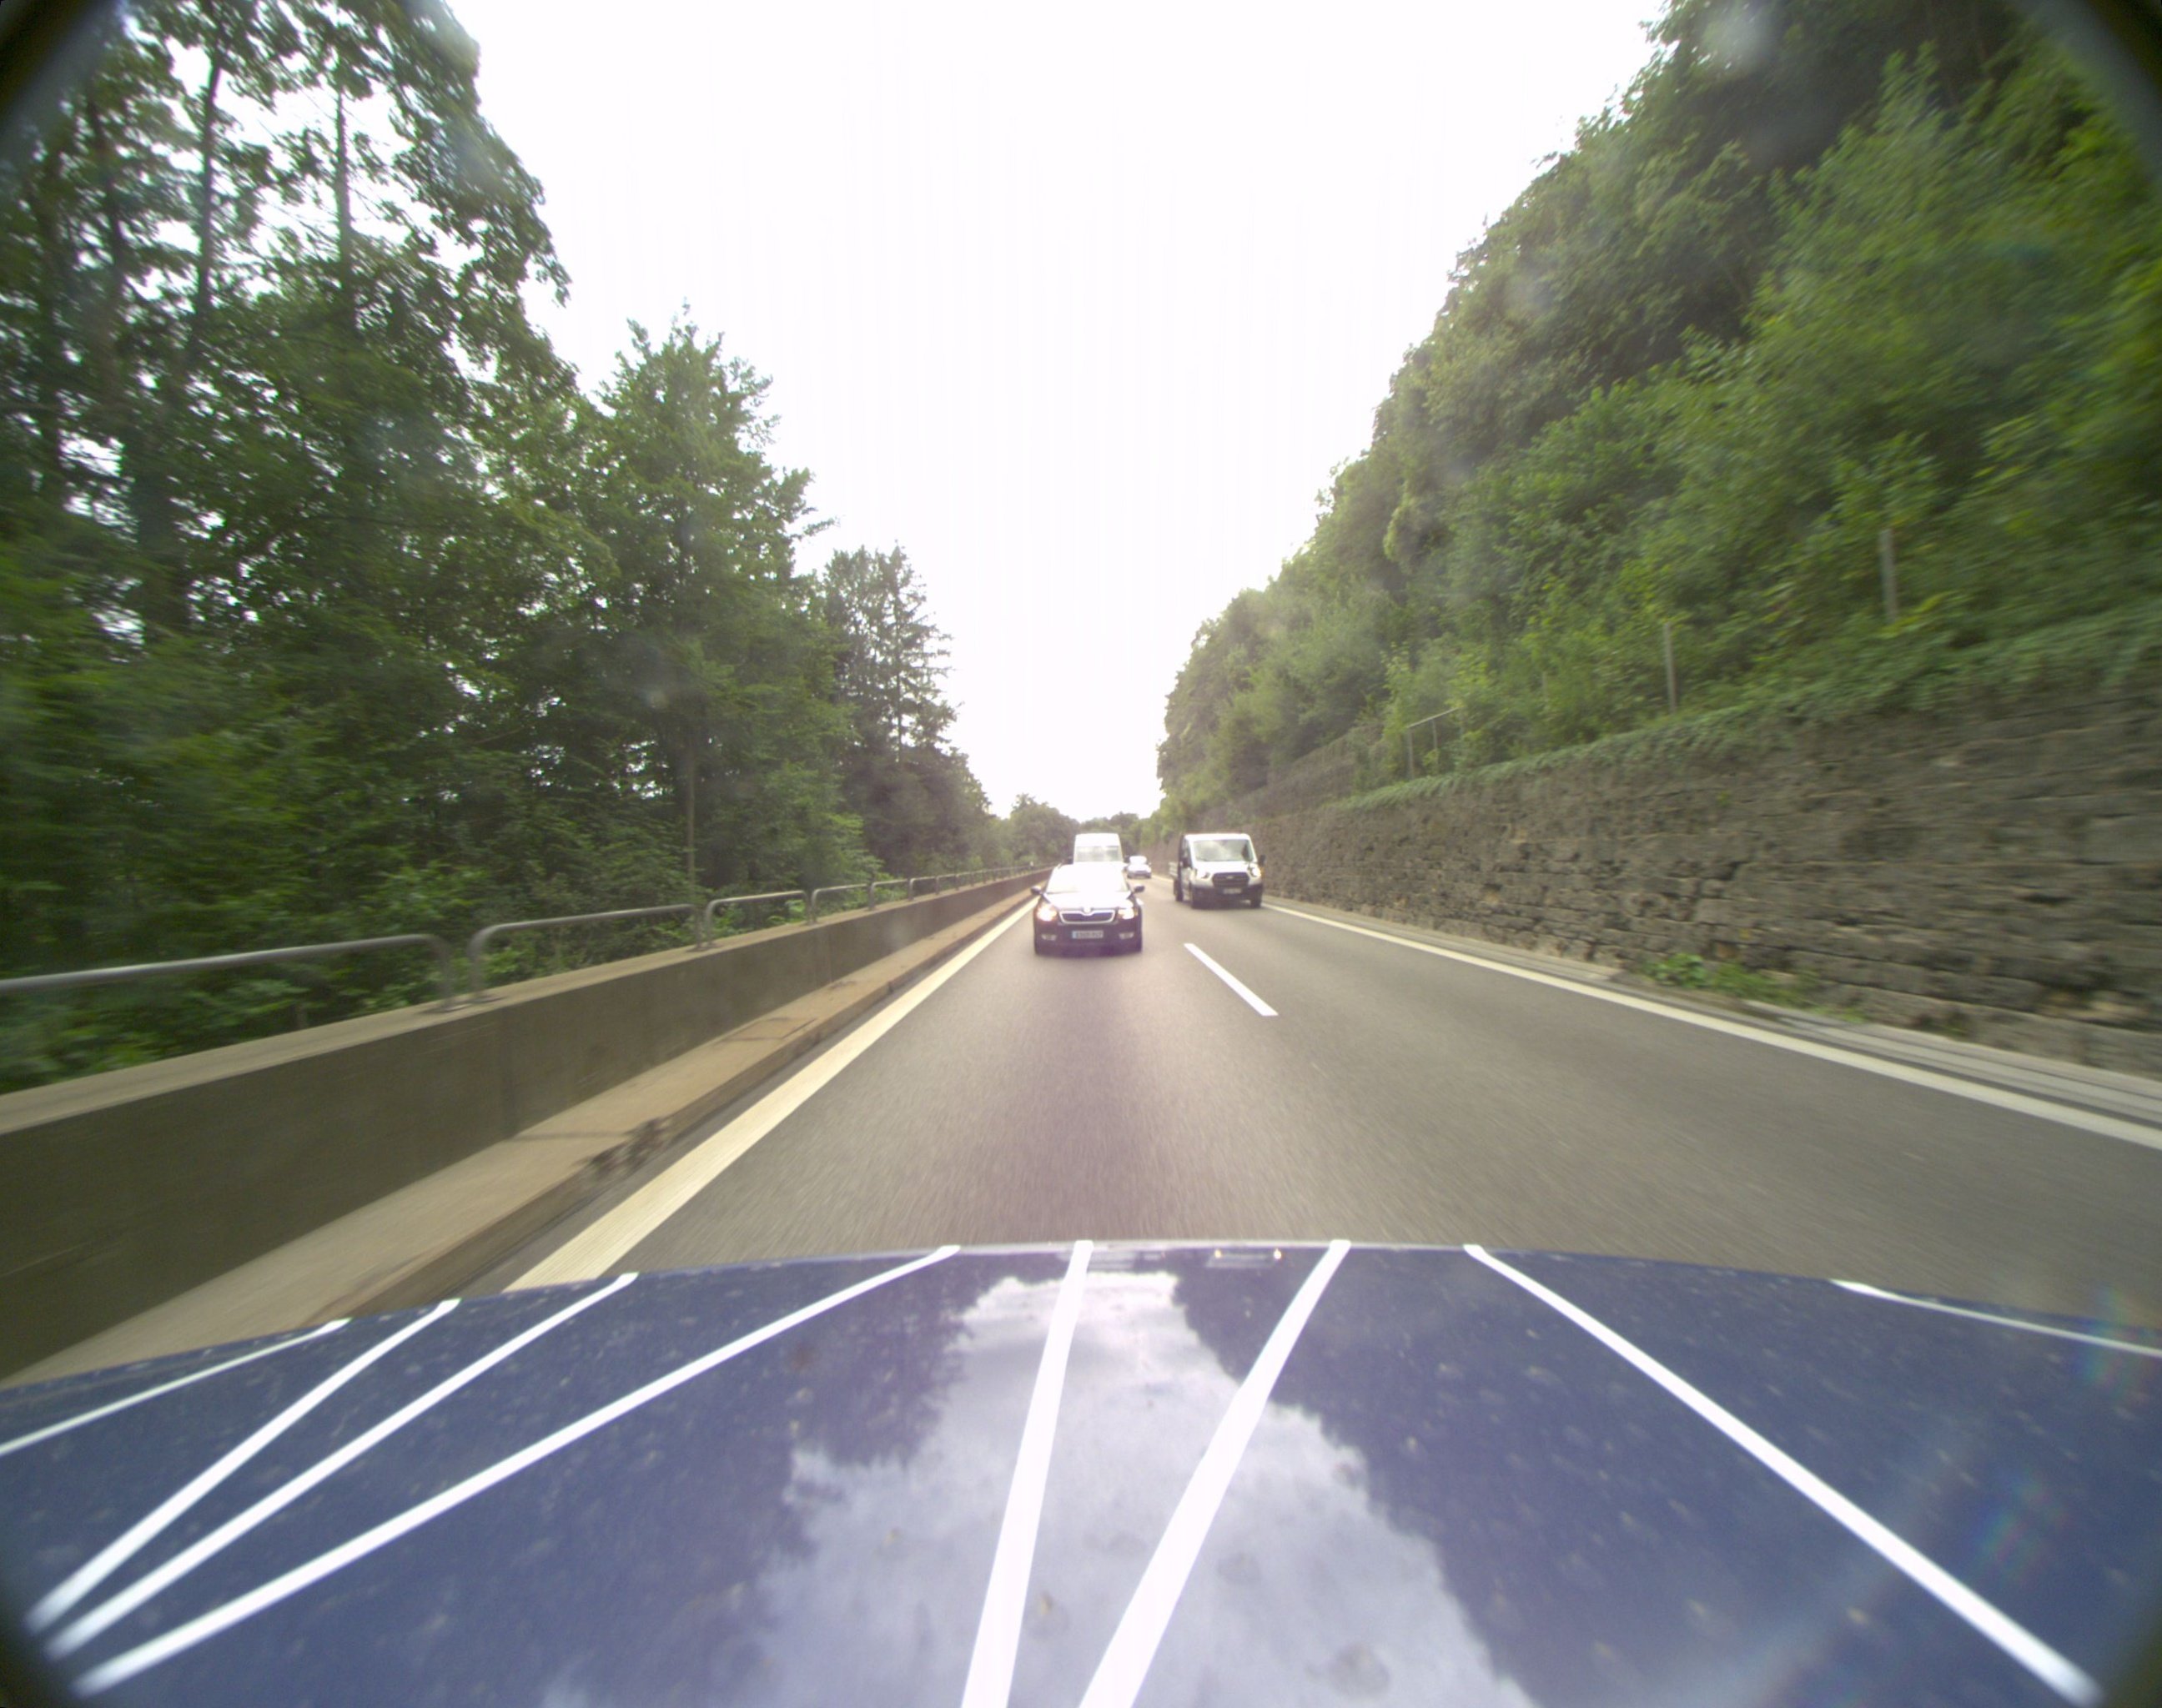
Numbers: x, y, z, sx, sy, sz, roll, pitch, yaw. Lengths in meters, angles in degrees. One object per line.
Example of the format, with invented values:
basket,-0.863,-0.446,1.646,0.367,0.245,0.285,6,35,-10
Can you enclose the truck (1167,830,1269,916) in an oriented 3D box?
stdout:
truck,4.132,0.527,24.129,1.998,2.266,6.586,-2,0,0

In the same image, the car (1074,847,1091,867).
car,0.192,0.365,92.037,1.998,2.396,4.000,-2,0,1

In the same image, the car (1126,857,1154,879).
car,4.425,1.019,57.324,1.711,1.568,4.602,-2,0,1

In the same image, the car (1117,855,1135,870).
car,5.040,0.984,85.177,1.711,1.568,4.602,-2,0,1

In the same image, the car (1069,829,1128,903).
car,0.745,0.389,29.253,1.998,2.550,5.919,-1,1,3

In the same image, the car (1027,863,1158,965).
car,0.127,0.942,14.382,1.913,1.391,5.696,-3,0,-1
